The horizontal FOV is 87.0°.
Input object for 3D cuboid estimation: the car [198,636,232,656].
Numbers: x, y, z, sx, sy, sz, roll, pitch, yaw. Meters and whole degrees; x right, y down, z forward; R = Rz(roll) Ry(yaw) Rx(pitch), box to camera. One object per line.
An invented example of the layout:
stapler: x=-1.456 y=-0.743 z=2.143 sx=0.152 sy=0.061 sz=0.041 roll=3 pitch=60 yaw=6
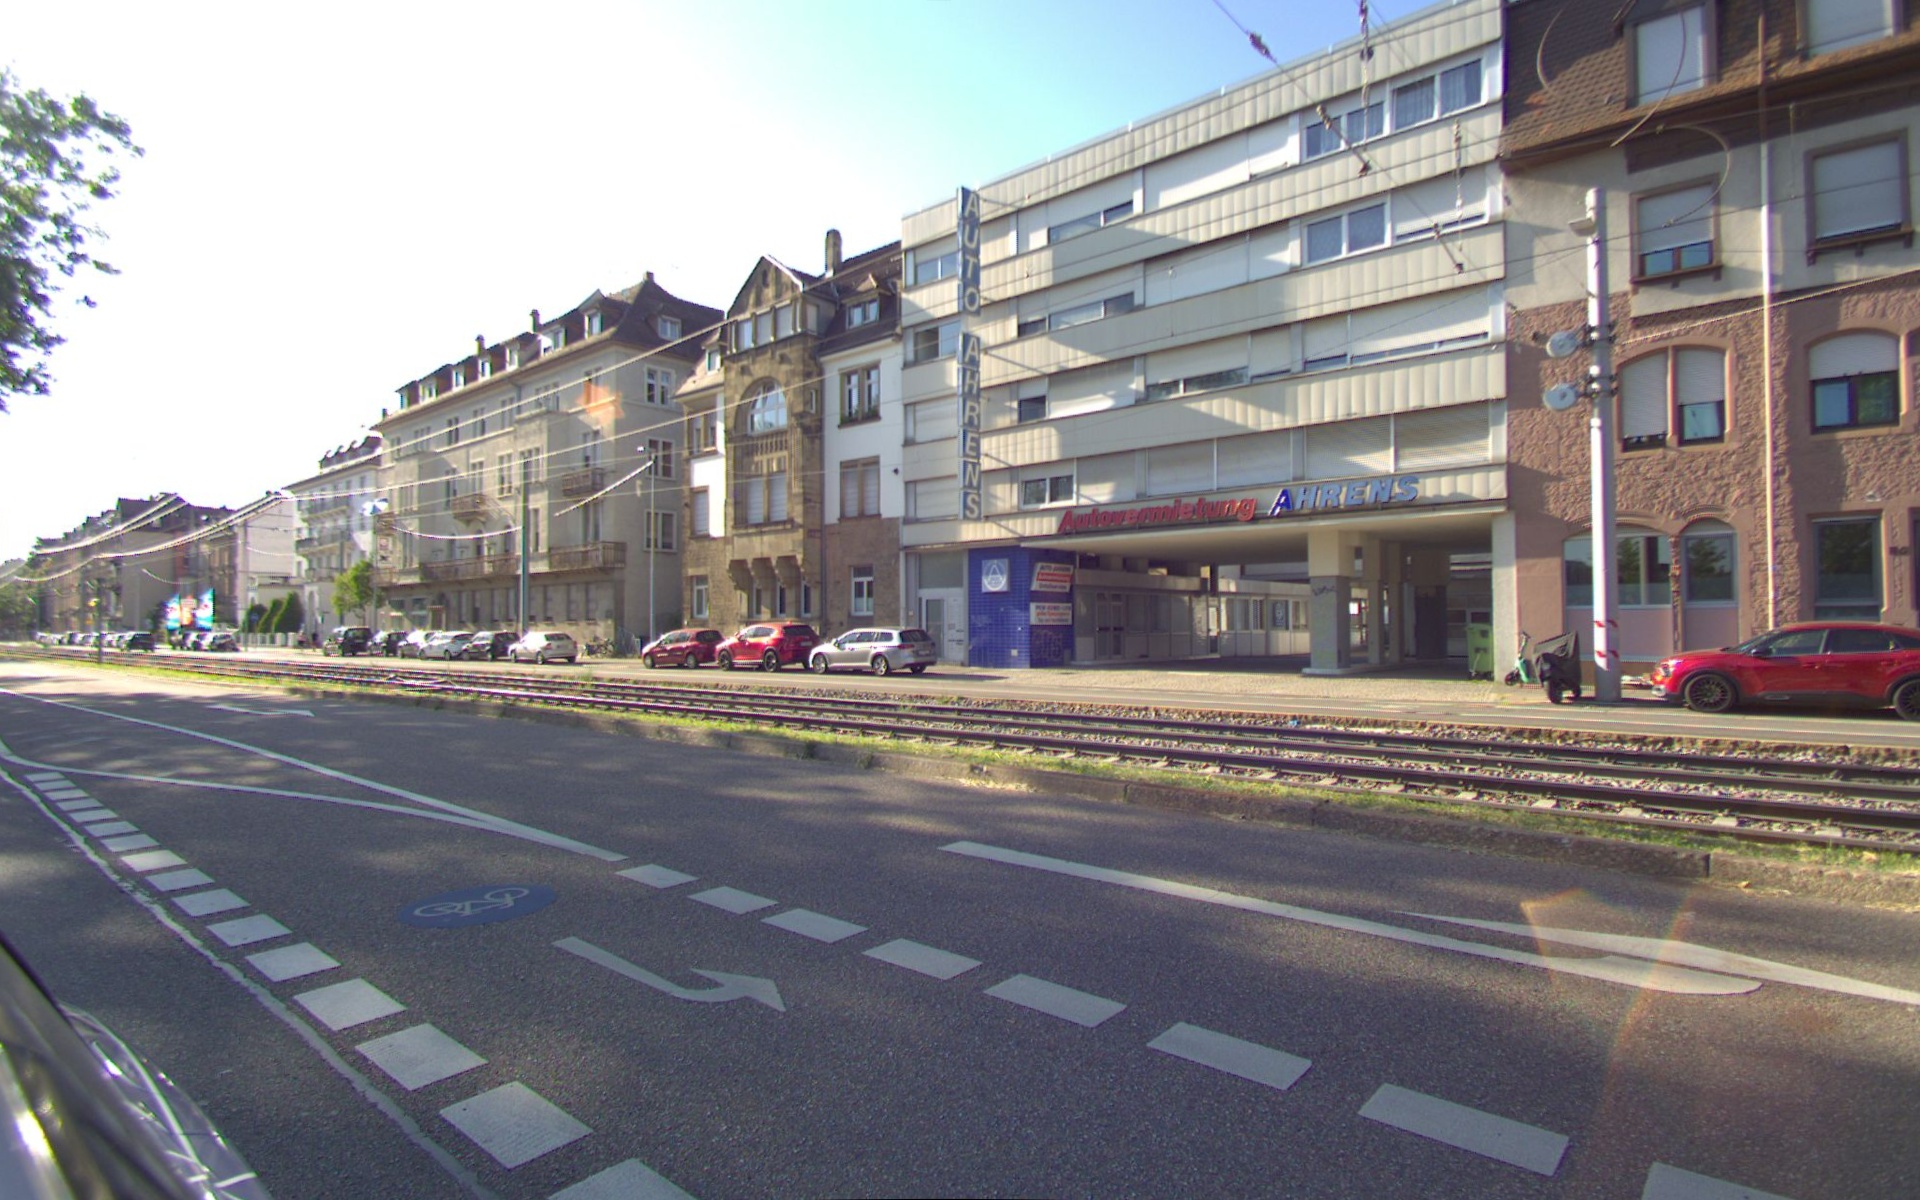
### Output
car: x=-62.431 y=3.826 z=84.799 sx=3.387 sy=1.583 sz=1.662 roll=-2 pitch=-1 yaw=42

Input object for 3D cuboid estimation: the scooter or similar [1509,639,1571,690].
scooter or similar: x=12.542 y=1.387 z=21.901 sx=1.121 sy=1.077 sz=0.202 roll=-2 pitch=-1 yaw=42

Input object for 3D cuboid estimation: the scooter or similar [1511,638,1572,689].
scooter or similar: x=12.691 y=1.376 z=22.101 sx=1.121 sy=1.077 sz=0.202 roll=-2 pitch=-1 yaw=42

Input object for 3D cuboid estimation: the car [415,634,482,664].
car: x=-26.669 y=2.548 z=52.761 sx=3.531 sy=1.457 sz=1.624 roll=-2 pitch=-1 yaw=34

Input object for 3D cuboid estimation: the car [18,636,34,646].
car: x=-152.176 y=6.628 z=164.820 sx=3.449 sy=1.602 sz=1.603 roll=-2 pitch=-1 yaw=42

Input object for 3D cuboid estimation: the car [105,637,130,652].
car: x=-92.638 y=4.900 z=111.210 sx=3.449 sy=1.602 sz=1.603 roll=-2 pitch=-1 yaw=42

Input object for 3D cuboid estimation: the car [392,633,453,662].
car: x=-29.999 y=2.636 z=56.437 sx=3.822 sy=1.490 sz=1.778 roll=-2 pitch=-1 yaw=42

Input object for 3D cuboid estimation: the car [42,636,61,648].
car: x=-131.908 y=6.057 z=146.899 sx=3.449 sy=1.602 sz=1.603 roll=-2 pitch=-1 yaw=42

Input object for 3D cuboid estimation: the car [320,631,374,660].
car: x=-38.703 y=2.851 z=63.873 sx=3.914 sy=1.750 sz=1.851 roll=-2 pitch=-1 yaw=42

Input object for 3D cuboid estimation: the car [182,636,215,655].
car: x=-66.554 y=3.938 z=88.393 sx=3.387 sy=1.583 sz=1.662 roll=-2 pitch=-1 yaw=42

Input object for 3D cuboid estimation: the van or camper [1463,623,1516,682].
van or camper: x=12.794 y=1.246 z=24.440 sx=0.803 sy=1.368 sz=1.409 roll=-2 pitch=-3 yaw=41

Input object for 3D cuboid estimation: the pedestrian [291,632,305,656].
pedestrian: x=-50.642 y=3.367 z=77.456 sx=0.677 sy=1.803 sz=0.716 roll=-2 pitch=-3 yaw=41

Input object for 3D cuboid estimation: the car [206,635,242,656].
car: x=-58.837 y=3.629 z=80.888 sx=3.407 sy=1.644 sz=1.655 roll=-2 pitch=-1 yaw=42

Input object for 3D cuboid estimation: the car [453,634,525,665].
car: x=-23.409 y=2.438 z=50.292 sx=3.820 sy=1.441 sz=1.779 roll=-2 pitch=-1 yaw=40

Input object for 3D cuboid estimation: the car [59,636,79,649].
car: x=-118.599 y=5.605 z=134.674 sx=3.449 sy=1.602 sz=1.603 roll=-2 pitch=-1 yaw=42

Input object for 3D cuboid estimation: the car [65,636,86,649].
car: x=-114.870 y=5.508 z=131.420 sx=3.449 sy=1.602 sz=1.603 roll=-2 pitch=-1 yaw=42

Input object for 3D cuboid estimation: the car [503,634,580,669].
car: x=-19.336 y=2.335 z=46.719 sx=3.822 sy=1.490 sz=1.778 roll=-2 pitch=-1 yaw=42

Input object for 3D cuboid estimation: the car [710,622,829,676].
car: x=-6.688 y=1.687 z=35.293 sx=4.262 sy=1.700 sz=1.836 roll=-2 pitch=-1 yaw=42

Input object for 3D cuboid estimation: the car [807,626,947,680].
car: x=-2.662 y=1.642 z=31.764 sx=4.379 sy=1.510 sz=1.837 roll=-2 pitch=-1 yaw=41

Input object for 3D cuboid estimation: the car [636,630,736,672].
car: x=-10.523 y=1.940 z=38.771 sx=3.722 sy=1.507 sz=1.736 roll=-2 pitch=-1 yaw=36

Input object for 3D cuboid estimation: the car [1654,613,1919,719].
car: x=14.109 y=1.043 z=16.690 sx=4.208 sy=1.510 sz=1.837 roll=-2 pitch=0 yaw=41

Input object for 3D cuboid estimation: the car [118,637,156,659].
car: x=-66.056 y=3.807 z=81.213 sx=3.999 sy=1.697 sz=1.798 roll=-2 pitch=-3 yaw=42

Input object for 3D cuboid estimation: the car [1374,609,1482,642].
car: x=33.229 y=1.860 z=71.989 sx=6.596 sy=2.275 sz=2.330 roll=-2 pitch=-3 yaw=41

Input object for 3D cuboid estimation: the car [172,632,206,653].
car: x=-70.218 y=3.857 z=92.151 sx=3.879 sy=1.800 sz=1.705 roll=-2 pitch=-1 yaw=42

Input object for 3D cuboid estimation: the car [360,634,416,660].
car: x=-34.256 y=2.801 z=60.600 sx=3.822 sy=1.490 sz=1.778 roll=-2 pitch=-1 yaw=42

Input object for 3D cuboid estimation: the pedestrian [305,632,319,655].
pedestrian: x=-49.977 y=3.358 z=78.035 sx=0.677 sy=1.803 sz=0.716 roll=-2 pitch=-3 yaw=41

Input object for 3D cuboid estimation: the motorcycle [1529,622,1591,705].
motorcycle: x=11.420 y=1.186 z=19.226 sx=0.628 sy=1.433 sz=1.836 roll=-3 pitch=-1 yaw=41
